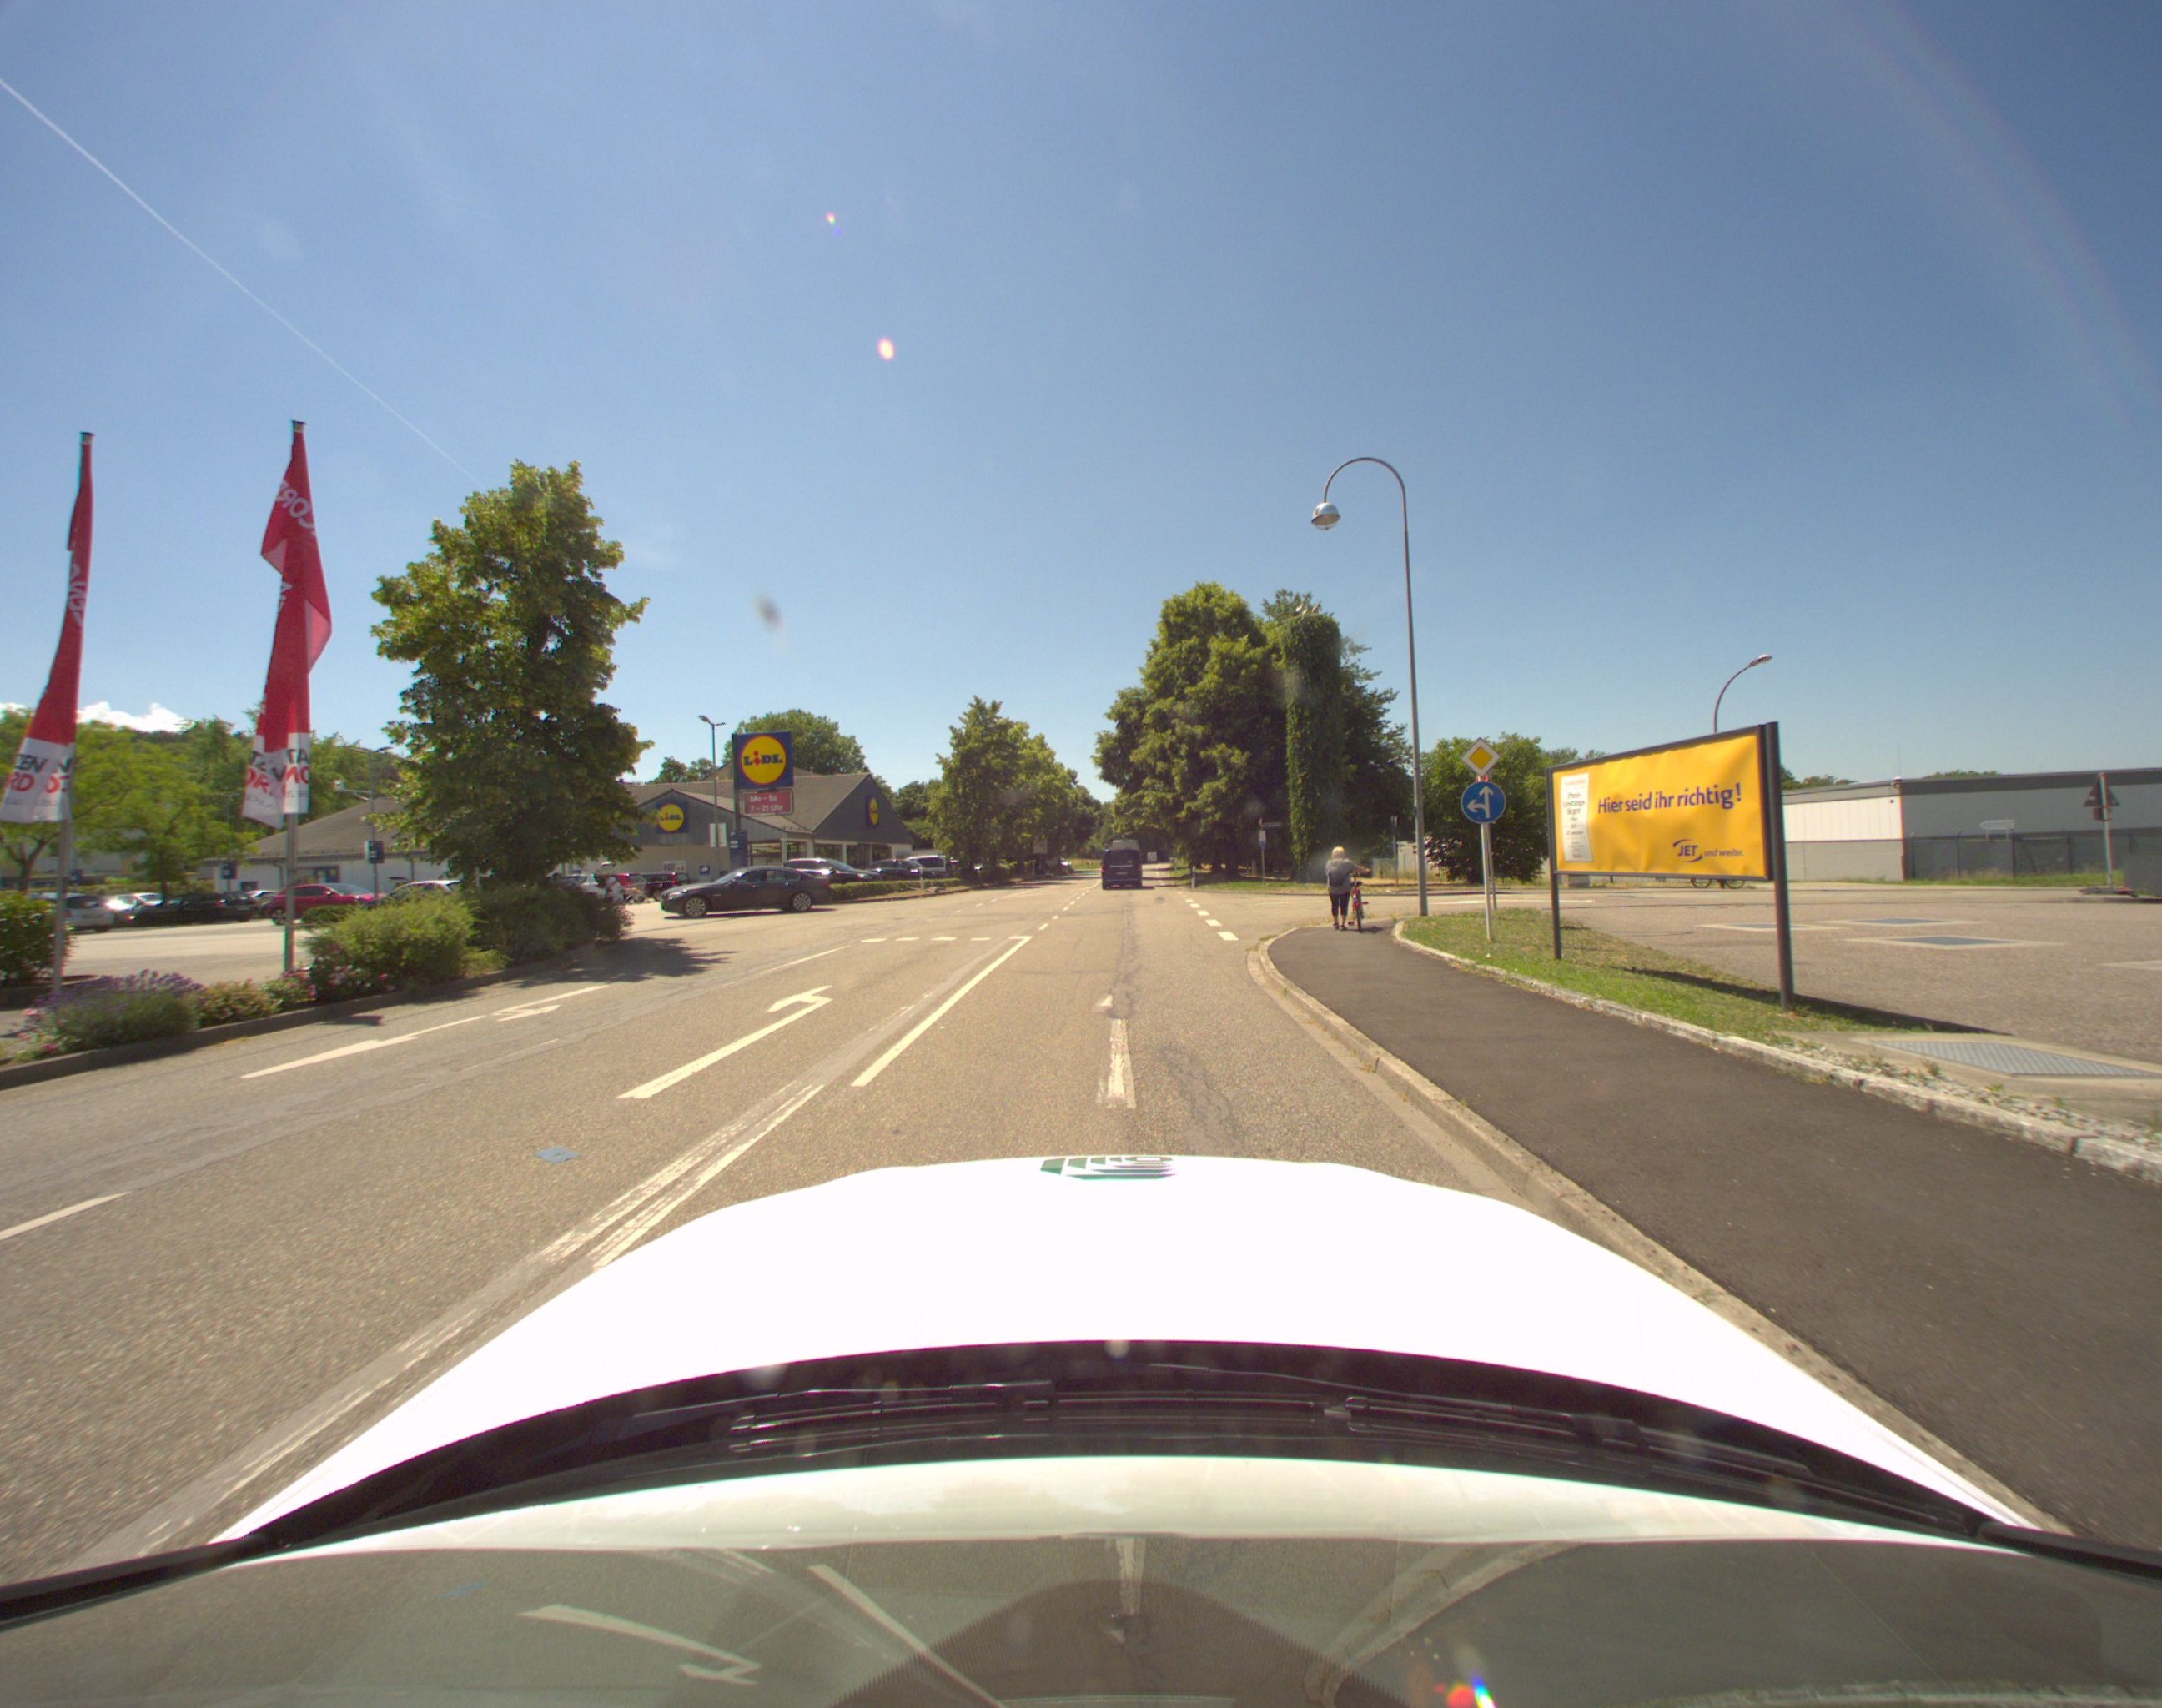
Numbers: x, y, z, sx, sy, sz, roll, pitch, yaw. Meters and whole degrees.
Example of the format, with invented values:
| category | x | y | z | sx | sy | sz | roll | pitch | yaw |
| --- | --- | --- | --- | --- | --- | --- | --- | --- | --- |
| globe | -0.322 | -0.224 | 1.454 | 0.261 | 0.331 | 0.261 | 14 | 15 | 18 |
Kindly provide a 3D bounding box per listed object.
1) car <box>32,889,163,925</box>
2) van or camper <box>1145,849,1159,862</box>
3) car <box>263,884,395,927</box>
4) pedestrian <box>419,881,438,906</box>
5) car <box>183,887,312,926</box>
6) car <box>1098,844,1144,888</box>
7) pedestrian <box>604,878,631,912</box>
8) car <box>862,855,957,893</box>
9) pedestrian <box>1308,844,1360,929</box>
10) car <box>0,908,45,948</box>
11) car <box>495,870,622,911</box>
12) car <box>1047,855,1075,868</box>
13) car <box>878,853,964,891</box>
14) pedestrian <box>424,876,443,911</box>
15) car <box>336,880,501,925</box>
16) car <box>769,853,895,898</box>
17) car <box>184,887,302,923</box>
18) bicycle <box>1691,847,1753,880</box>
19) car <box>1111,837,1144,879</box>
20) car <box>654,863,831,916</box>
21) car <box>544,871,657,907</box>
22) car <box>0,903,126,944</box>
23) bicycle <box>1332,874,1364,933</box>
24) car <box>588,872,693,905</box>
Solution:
| category | x | y | z | sx | sy | sz | roll | pitch | yaw |
| --- | --- | --- | --- | --- | --- | --- | --- | --- | --- |
| car | -50.358 | 2.661 | 41.826 | 1.786 | 1.601 | 4.003 | -1 | -1 | 3 |
| van or camper | 15.781 | 0.373 | 180.496 | 2.623 | 2.929 | 5.206 | -1 | -1 | 0 |
| car | -29.445 | 1.992 | 31.950 | 3.593 | 1.486 | 1.651 | -2 | 0 | 0 |
| pedestrian | -42.129 | 2.574 | 52.577 | 0.671 | 1.580 | 0.634 | -1 | -1 | 1 |
| car | -38.901 | 2.420 | 38.155 | 1.785 | 1.601 | 4.004 | -1 | -1 | 4 |
| car | 1.975 | 0.562 | 38.835 | 1.984 | 1.952 | 5.011 | 0 | 0 | 5 |
| pedestrian | -20.843 | 1.814 | 36.625 | 0.891 | 1.483 | 0.803 | -1 | -1 | -19 |
| car | -8.909 | 1.038 | 42.481 | 4.358 | 1.845 | 2.109 | -2 | -1 | 10 |
| pedestrian | 4.402 | 0.558 | 14.237 | 0.763 | 1.421 | 0.871 | -2 | 0 | 13 |
| car | -40.633 | 2.739 | 29.277 | 4.228 | 1.369 | 1.766 | -2 | -1 | -5 |
| car | -23.560 | 1.621 | 36.850 | 4.298 | 1.655 | 2.114 | -1 | -1 | 0 |
| car | -2.617 | 0.966 | 107.738 | 2.104 | 1.588 | 4.438 | 0 | 0 | -25 |
| car | -8.825 | 1.002 | 45.200 | 4.340 | 1.980 | 1.905 | -1 | -1 | 1 |
| pedestrian | -33.401 | 2.026 | 42.029 | 0.757 | 1.806 | 0.763 | 0 | -1 | -40 |
| car | -23.338 | 1.686 | 28.832 | 4.228 | 1.369 | 1.766 | -2 | -1 | -5 |
| car | -10.672 | 0.916 | 35.033 | 4.681 | 1.762 | 2.103 | -1 | -1 | 8 |
| car | -42.975 | 2.590 | 41.886 | 1.785 | 1.601 | 4.004 | -1 | -1 | 4 |
| bicycle | 22.436 | 0.330 | 28.534 | 1.685 | 1.097 | 0.468 | -2 | -1 | 5 |
| car | 3.099 | 0.246 | 55.138 | 2.070 | 2.702 | 4.668 | 0 | 0 | 2 |
| car | -10.258 | 1.034 | 24.823 | 4.708 | 1.400 | 1.918 | -1 | -1 | -34 |
| car | -23.057 | 1.664 | 39.205 | 4.298 | 1.530 | 1.827 | -1 | -1 | 0 |
| car | -40.749 | 2.729 | 31.936 | 4.228 | 1.369 | 1.766 | -2 | -1 | -5 |
| bicycle | 4.596 | 0.821 | 14.074 | 0.375 | 0.912 | 1.604 | -2 | 0 | 14 |
| car | -22.369 | 1.740 | 41.434 | 4.298 | 1.530 | 1.827 | -1 | -1 | 0 |
